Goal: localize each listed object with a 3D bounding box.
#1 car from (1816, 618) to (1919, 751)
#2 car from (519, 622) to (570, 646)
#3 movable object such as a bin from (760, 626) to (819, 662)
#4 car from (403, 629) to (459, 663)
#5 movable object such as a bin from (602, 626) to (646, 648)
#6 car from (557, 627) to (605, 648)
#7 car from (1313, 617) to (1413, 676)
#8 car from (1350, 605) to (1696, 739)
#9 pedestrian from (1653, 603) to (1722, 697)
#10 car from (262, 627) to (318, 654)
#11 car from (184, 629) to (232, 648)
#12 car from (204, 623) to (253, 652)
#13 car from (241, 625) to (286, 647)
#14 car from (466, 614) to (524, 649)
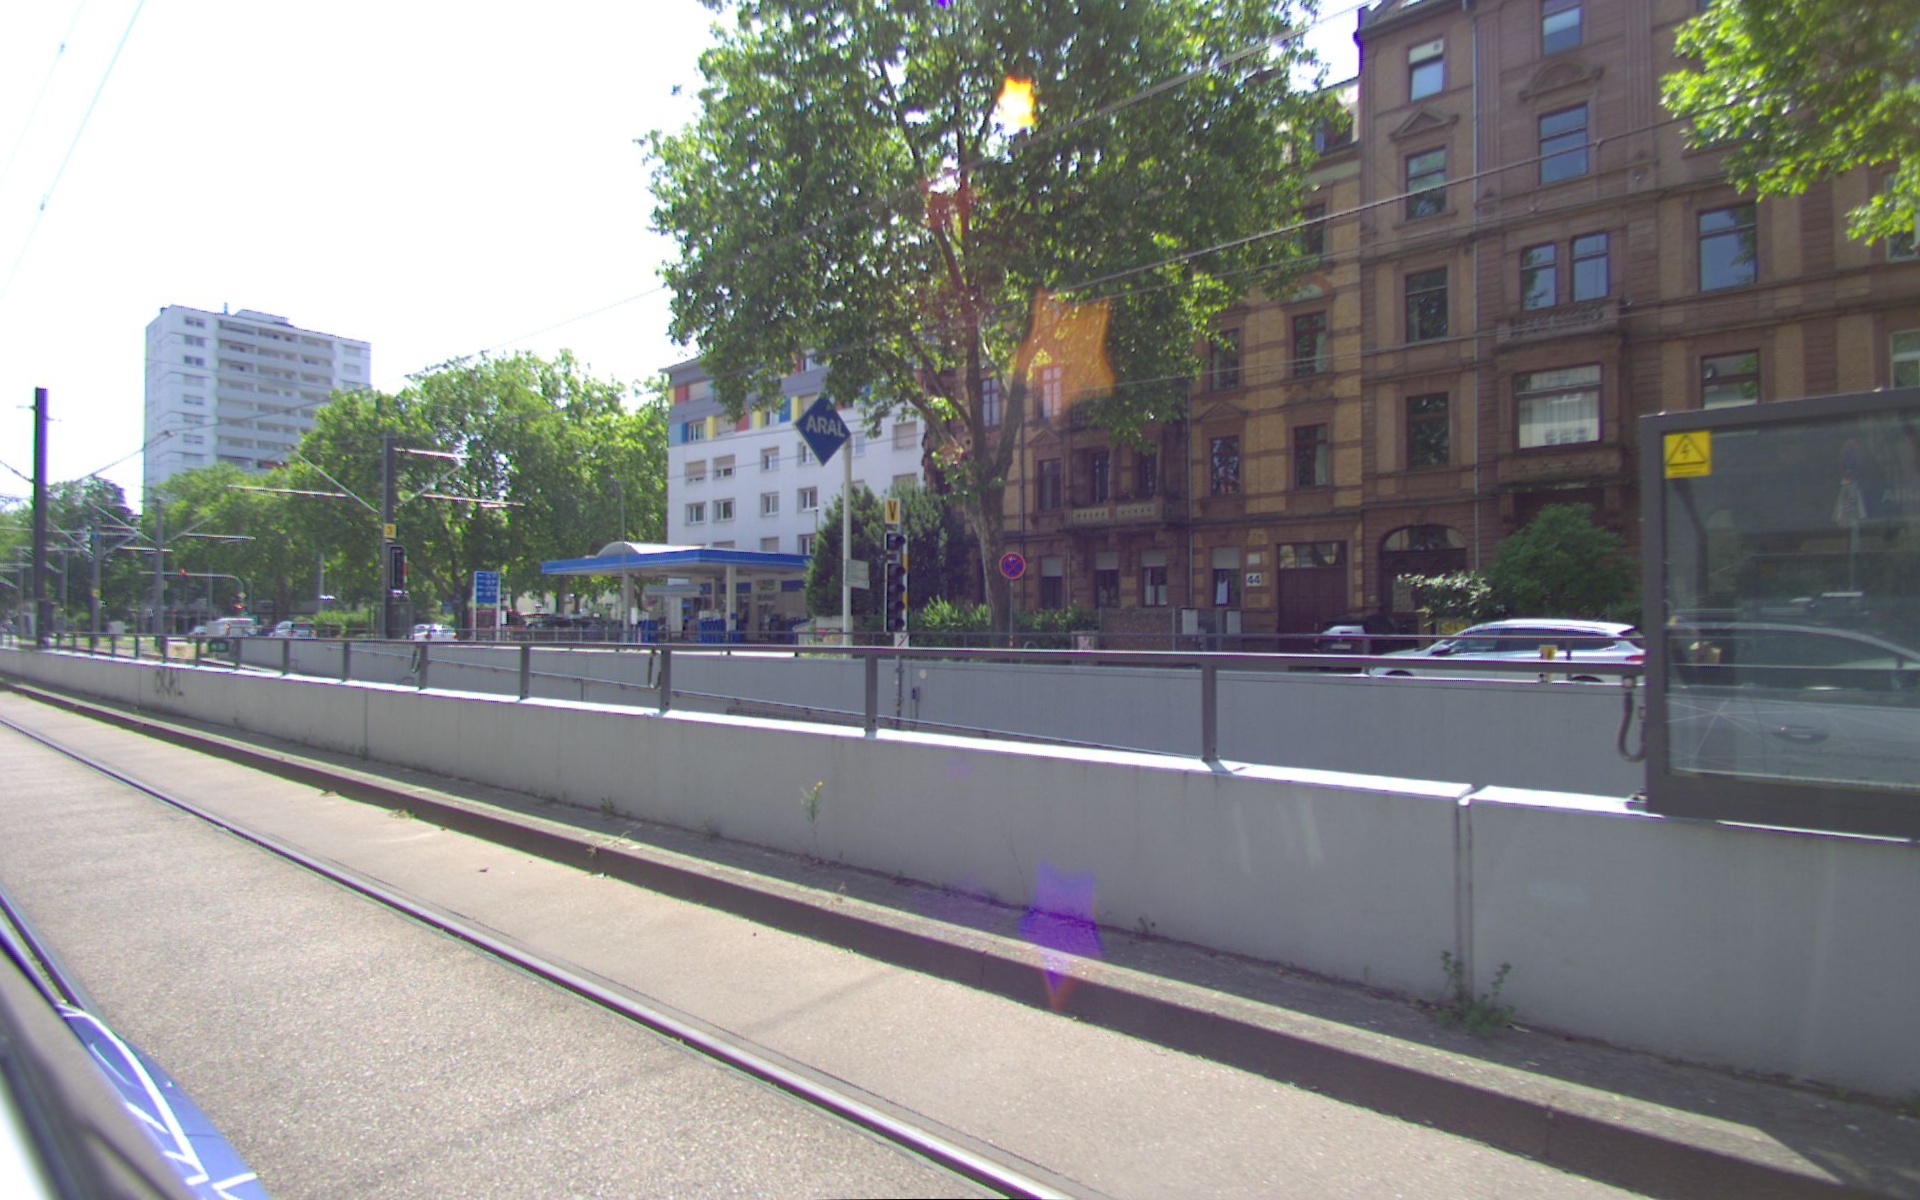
[{"bbox_3d":[13.603,1.080,13.149,3.704,1.697,1.637,-2,-2,40],"label":"car"},{"bbox_3d":[-31.130,2.521,75.753,3.997,1.733,1.973,-1,-2,41],"label":"car"},{"bbox_3d":[-6.753,1.733,40.121,1.468,1.395,1.765,-2,-2,39],"label":"movable object such as a bin"},{"bbox_3d":[-25.920,2.226,49.499,1.525,1.573,3.883,0,-1,-42],"label":"car"},{"bbox_3d":[-26.438,2.912,79.679,1.985,1.623,2.689,-2,-2,40],"label":"movable object such as a bin"},{"bbox_3d":[-29.419,2.918,78.559,3.997,1.538,1.844,-2,-2,41],"label":"car"},{"bbox_3d":[10.718,1.188,26.795,1.649,1.436,3.449,-1,-2,36],"label":"car"},{"bbox_3d":[9.192,1.085,16.769,4.714,1.919,1.973,-2,-1,40],"label":"car"},{"bbox_3d":[11.417,0.768,15.905,0.508,1.437,0.731,-1,-1,0],"label":"pedestrian"},{"bbox_3d":[-42.527,2.564,64.190,4.600,1.638,1.827,-2,-3,42],"label":"car"},{"bbox_3d":[-57.627,2.959,77.509,4.624,1.369,1.927,-2,-2,40],"label":"car"},{"bbox_3d":[-53.146,2.702,73.486,4.800,2.006,1.759,-2,-2,40],"label":"car"},{"bbox_3d":[-47.218,2.435,68.593,3.779,1.431,1.580,-2,-4,40],"label":"car"},{"bbox_3d":[-33.265,2.261,72.351,4.977,2.411,1.828,-2,-2,40],"label":"car"}]
